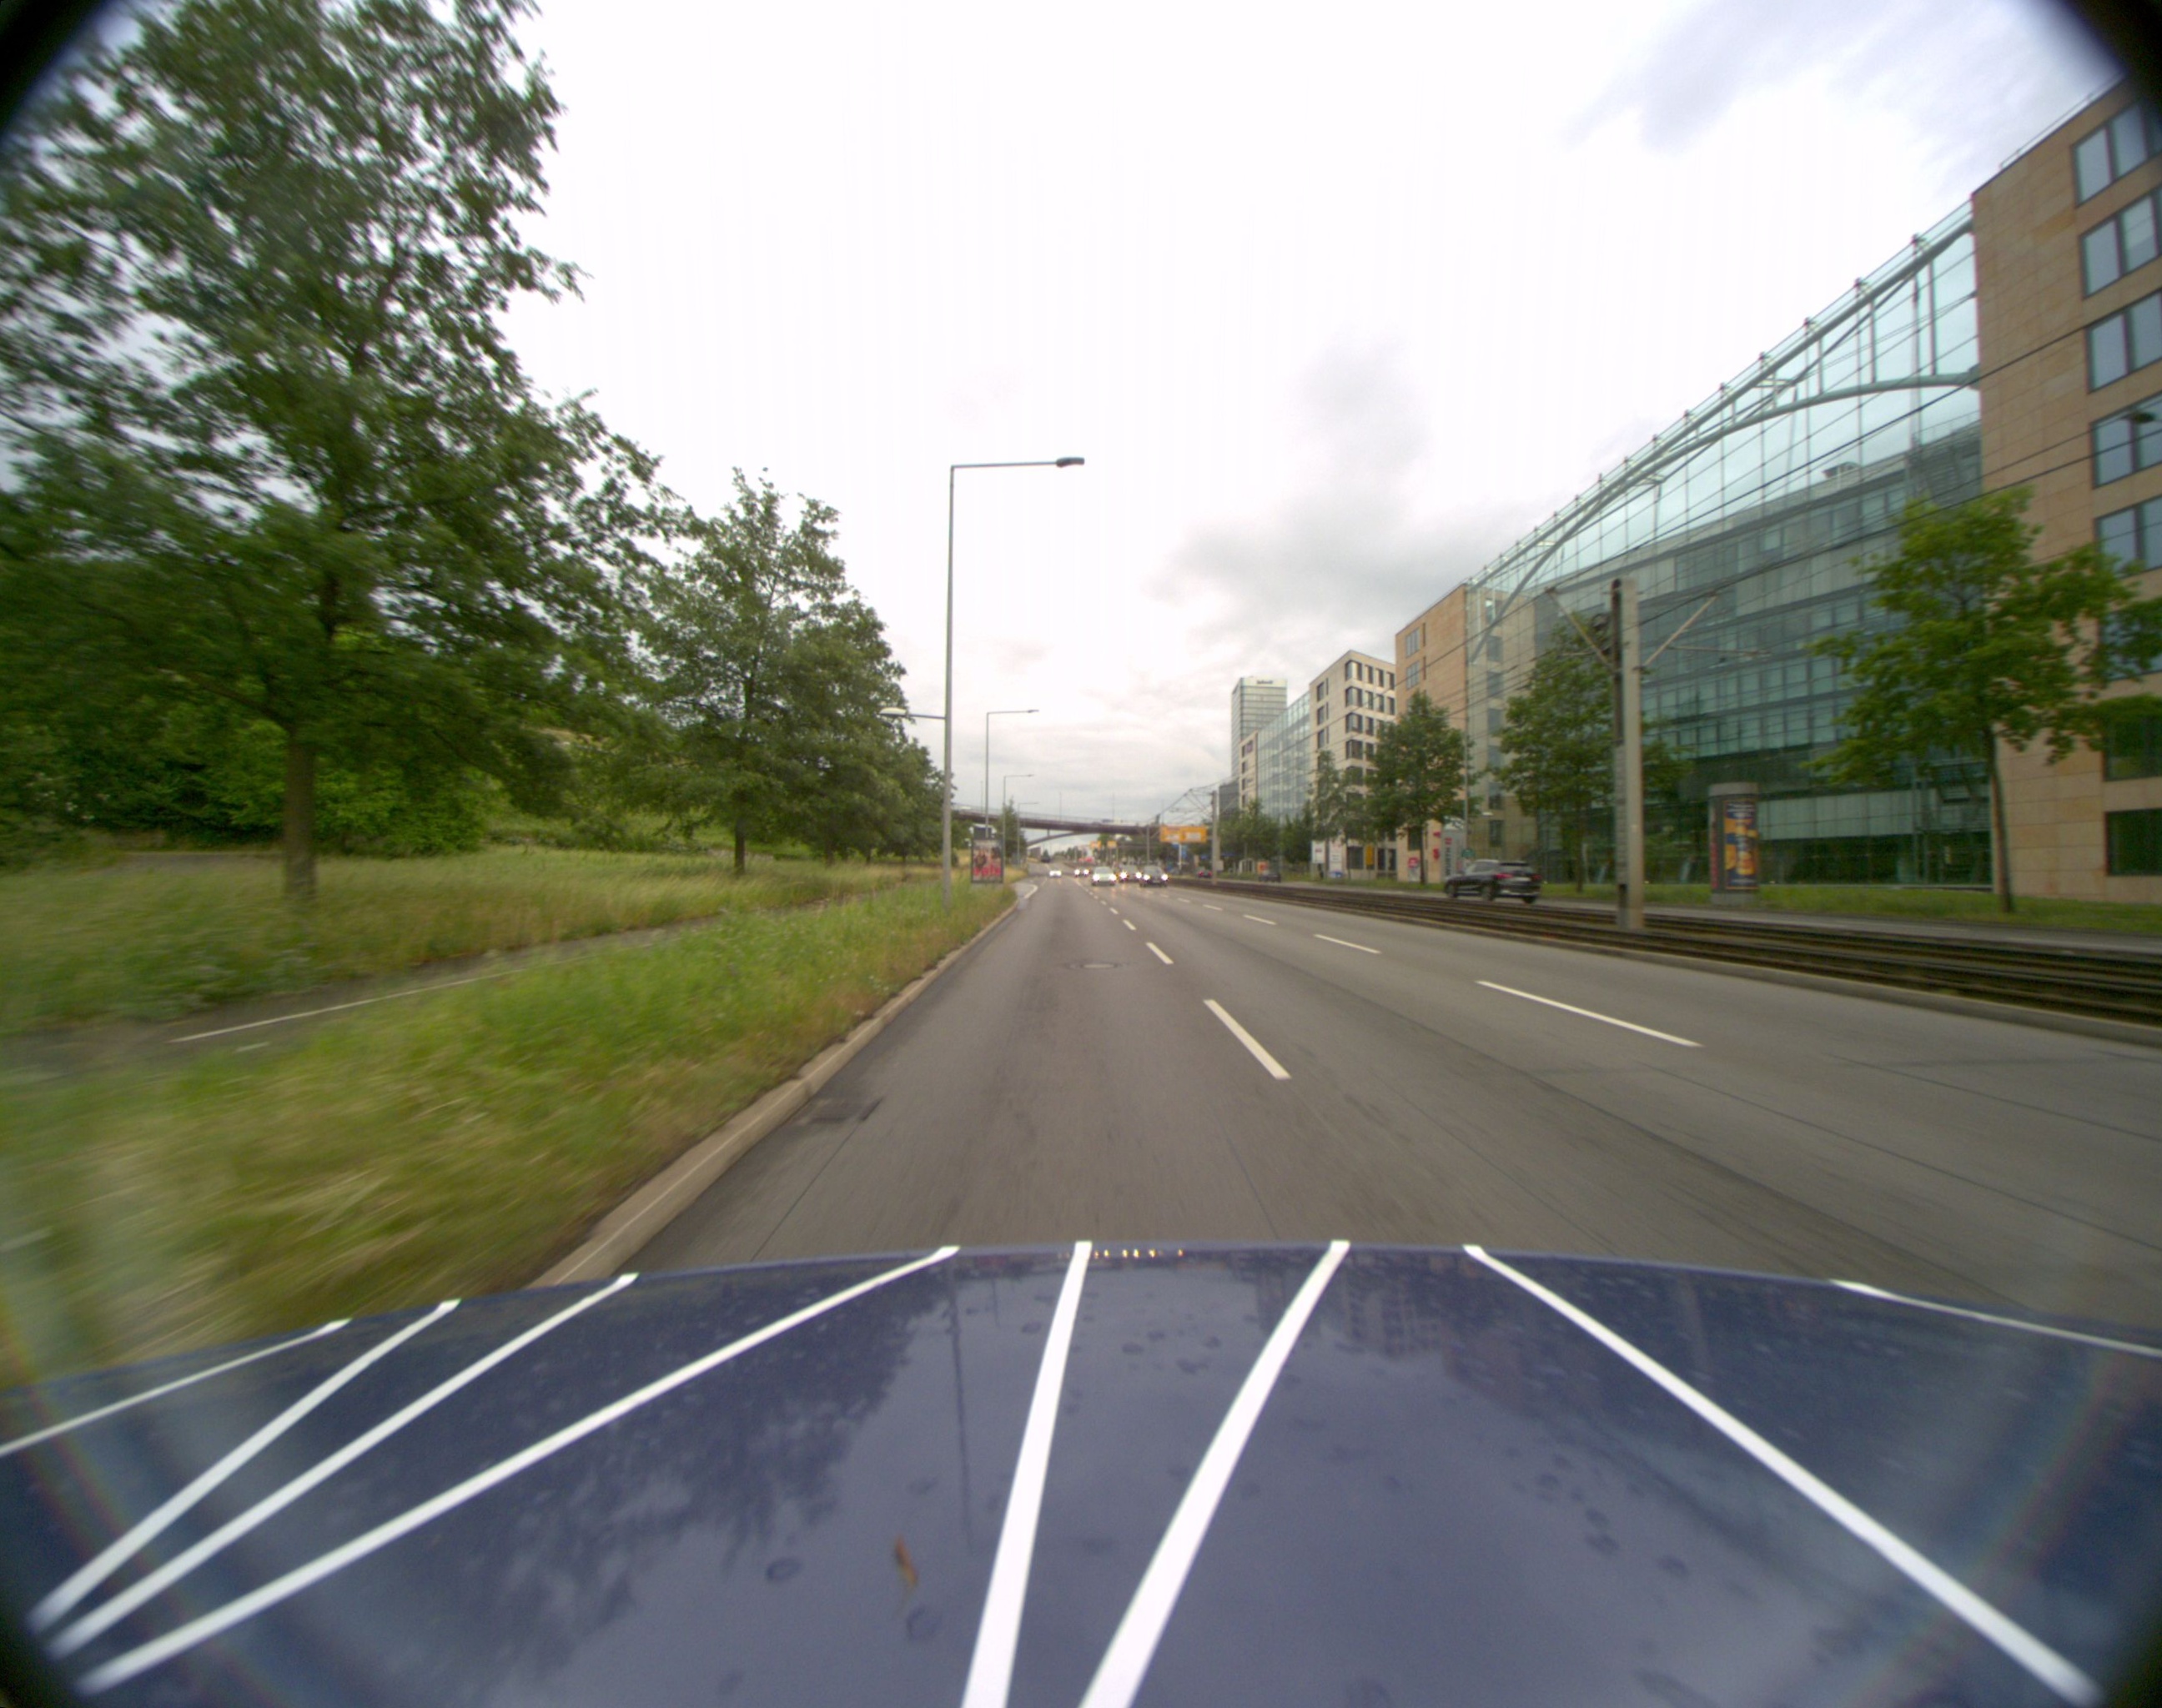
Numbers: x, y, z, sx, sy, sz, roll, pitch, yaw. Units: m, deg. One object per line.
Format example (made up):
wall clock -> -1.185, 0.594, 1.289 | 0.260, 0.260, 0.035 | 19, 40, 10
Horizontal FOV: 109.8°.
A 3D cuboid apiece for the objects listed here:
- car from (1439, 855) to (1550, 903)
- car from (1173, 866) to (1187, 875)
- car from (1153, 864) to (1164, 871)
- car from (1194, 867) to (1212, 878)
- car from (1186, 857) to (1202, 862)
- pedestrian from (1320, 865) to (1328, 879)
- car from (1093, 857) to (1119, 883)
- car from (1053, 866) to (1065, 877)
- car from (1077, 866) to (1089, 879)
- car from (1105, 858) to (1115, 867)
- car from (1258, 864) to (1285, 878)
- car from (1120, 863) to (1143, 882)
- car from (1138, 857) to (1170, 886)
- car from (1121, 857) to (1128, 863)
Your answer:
car -> 15.853, 0.896, 29.423 | 1.810, 1.607, 4.384 | -1, 1, -2
car -> 18.105, 2.994, 139.109 | 1.846, 1.477, 4.653 | 3, -1, -1
car -> 17.934, 3.124, 175.930 | 1.846, 1.445, 4.023 | -1, 1, -1
car -> 18.196, 2.747, 113.602 | 1.846, 1.477, 4.653 | 3, -1, -1
car -> 32.276, 1.534, 217.581 | 4.364, 1.495, 1.885 | -1, 1, 0
pedestrian -> 28.918, 2.119, 90.399 | 0.643, 1.622, 0.831 | -1, 2, -4
car -> 1.948, 1.238, 60.543 | 1.794, 1.858, 4.376 | -1, 1, -1
car -> -3.463, 2.725, 118.576 | 1.794, 1.621, 4.376 | -1, 1, -1
car -> 0.343, 2.823, 118.495 | 1.794, 1.858, 4.376 | -1, 1, -1
car -> 9.062, 2.741, 237.917 | 2.390, 2.801, 5.610 | -1, 0, -2
car -> 21.896, 1.960, 87.349 | 1.846, 1.477, 4.430 | 3, -1, -1
car -> 4.687, 1.661, 70.923 | 1.794, 1.535, 4.376 | -1, 1, -1
car -> 5.232, 1.192, 54.735 | 1.794, 1.858, 4.376 | -1, 1, -1
car -> 13.099, 1.811, 230.528 | 1.764, 1.524, 4.817 | -1, 0, -1
